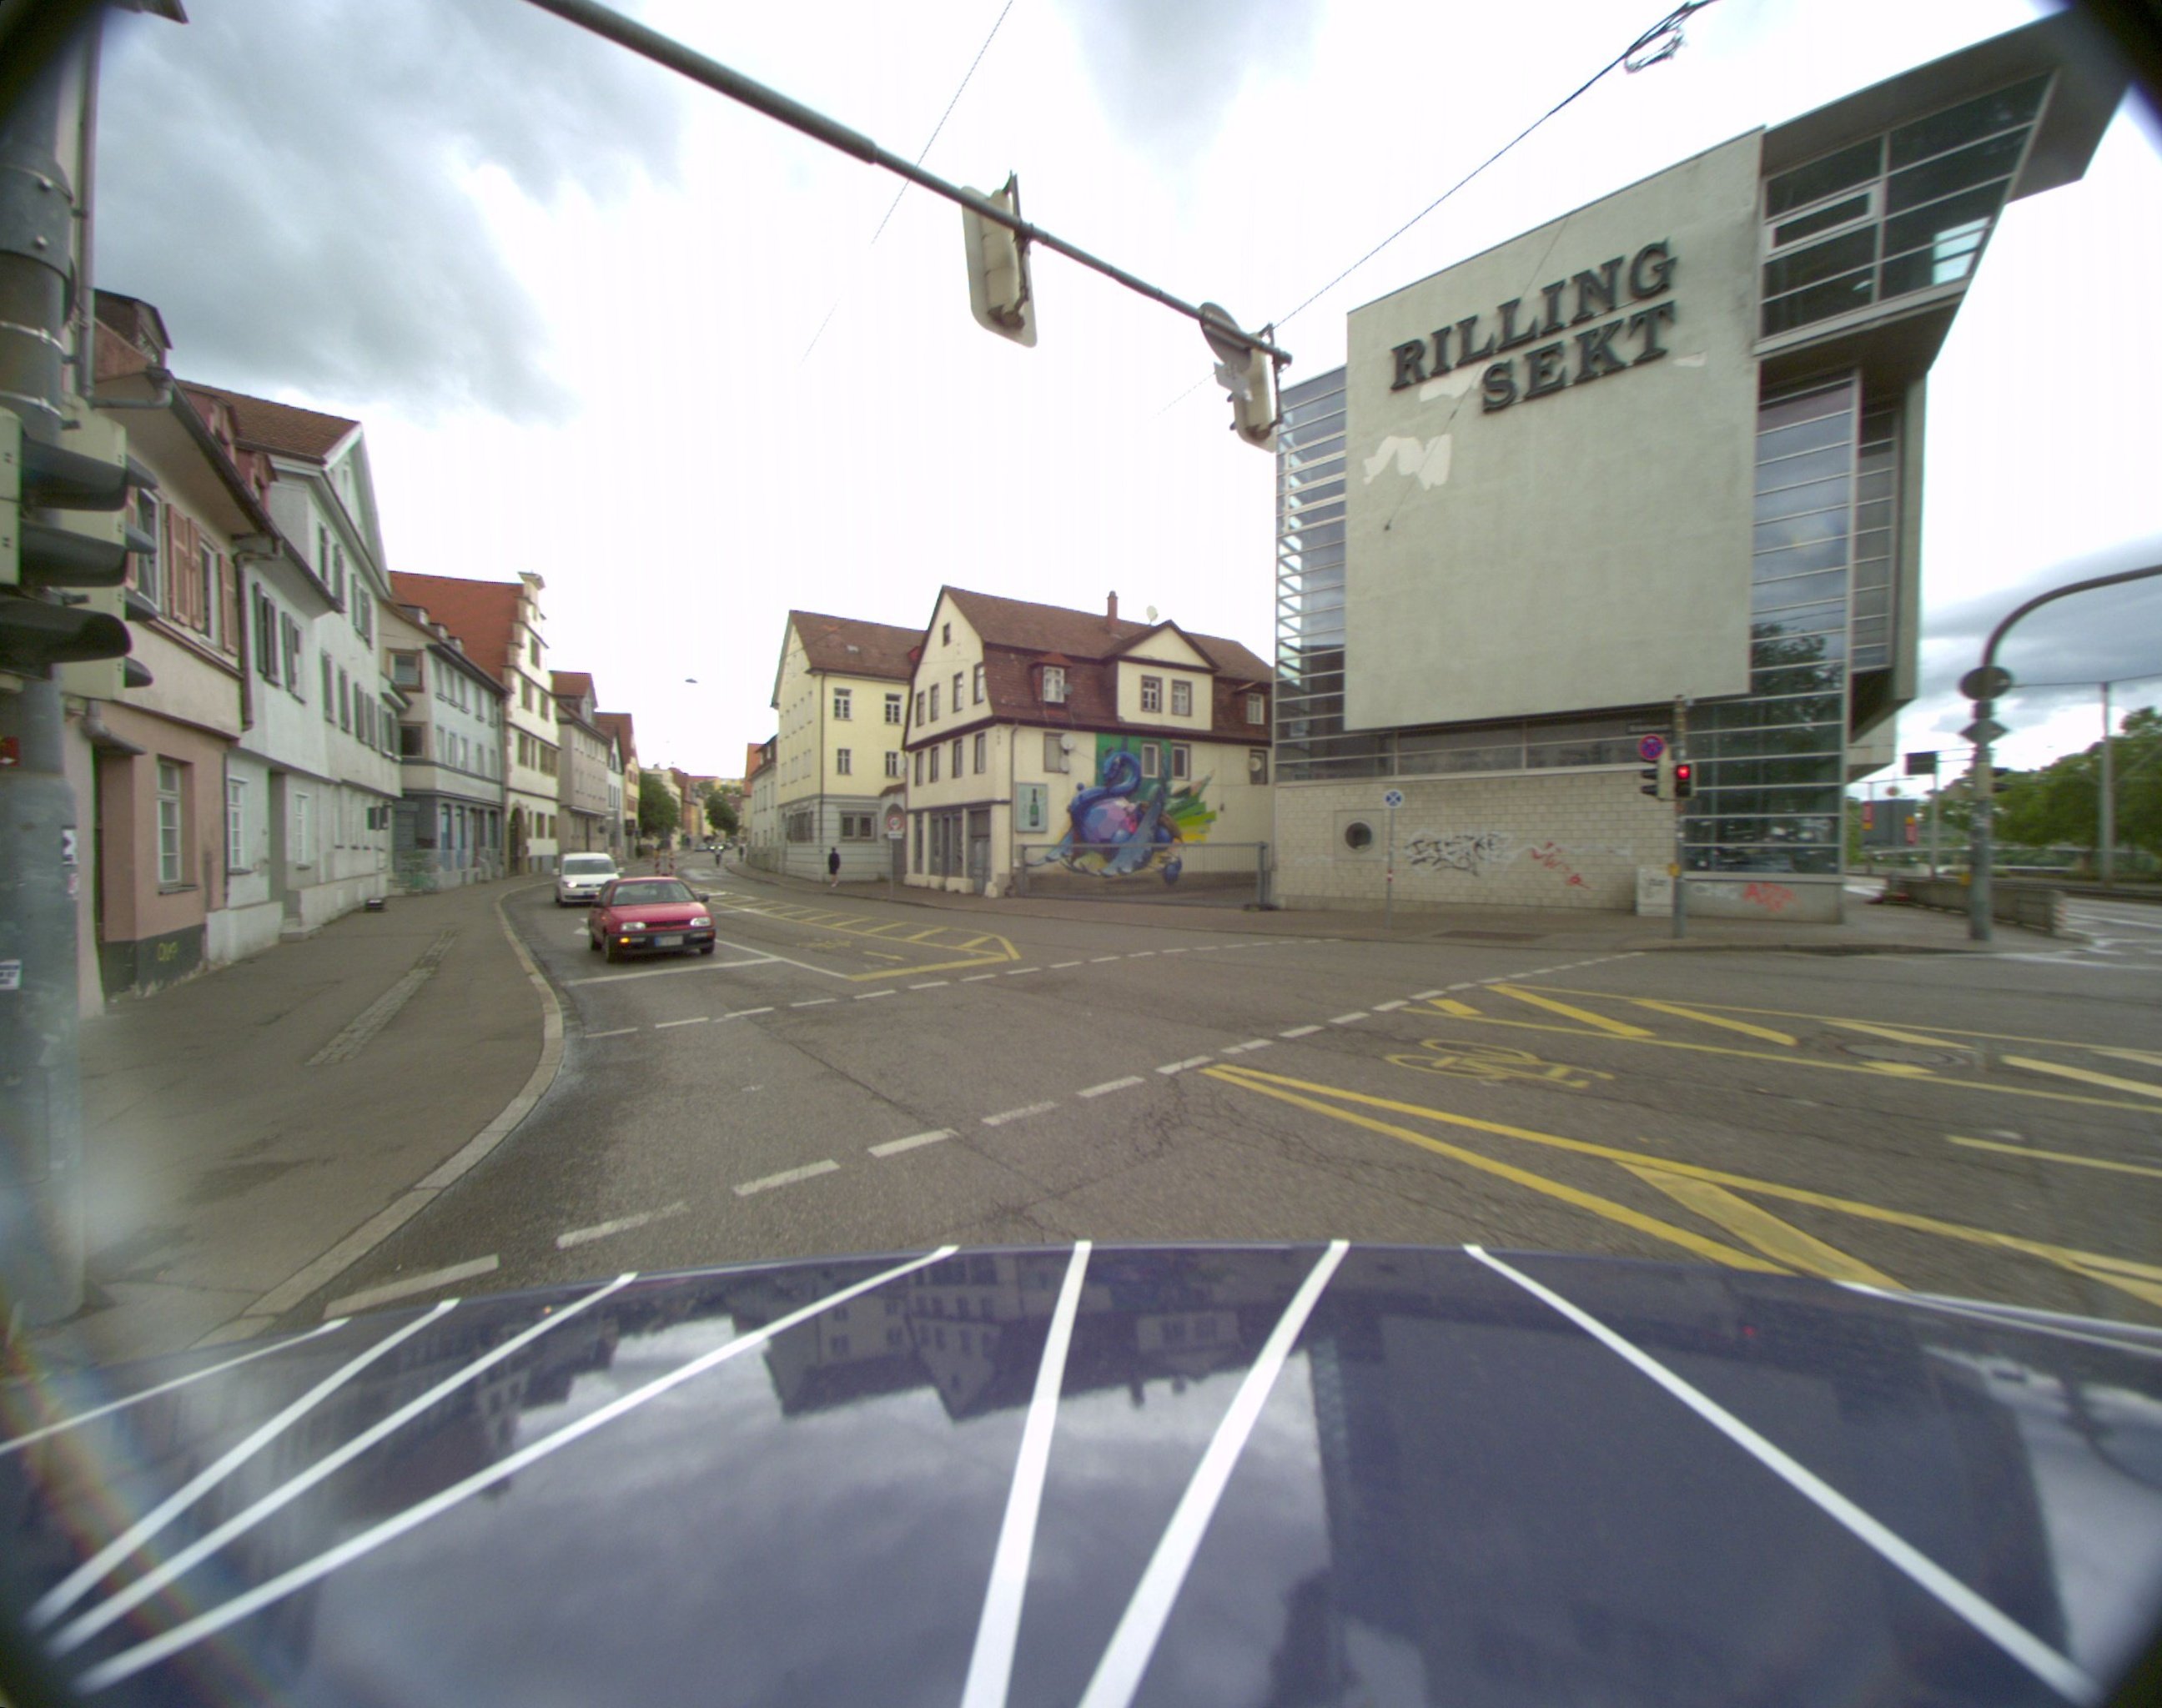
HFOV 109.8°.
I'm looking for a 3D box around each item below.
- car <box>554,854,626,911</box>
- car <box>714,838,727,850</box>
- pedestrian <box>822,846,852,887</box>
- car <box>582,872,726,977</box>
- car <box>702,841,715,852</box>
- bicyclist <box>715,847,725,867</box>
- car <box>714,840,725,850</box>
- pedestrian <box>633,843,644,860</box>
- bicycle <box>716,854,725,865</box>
[{"bbox_3d":[-16.921,0.901,26.080,1.809,1.781,4.337,0,0,-36],"label":"car"},{"bbox_3d":[-63.716,-1.766,134.470,2.003,2.002,3.992,0,0,-24],"label":"car"},{"bbox_3d":[-11.754,0.595,36.631,1.059,1.875,1.089,-2,1,-33],"label":"pedestrian"},{"bbox_3d":[-8.042,1.170,14.130,1.808,1.458,3.989,-4,2,-36],"label":"car"},{"bbox_3d":[-70.381,-1.457,143.675,2.002,2.002,3.992,0,0,-24],"label":"car"},{"bbox_3d":[-31.098,0.272,65.488,0.726,1.691,0.809,0,1,-22],"label":"bicyclist"},{"bbox_3d":[-77.830,-1.912,163.770,2.002,2.002,3.992,0,0,-24],"label":"car"},{"bbox_3d":[-50.028,-0.306,85.896,0.880,1.887,0.895,1,-3,-43],"label":"pedestrian"},{"bbox_3d":[-31.177,0.480,65.710,0.543,0.887,1.877,0,0,-21],"label":"bicycle"}]
